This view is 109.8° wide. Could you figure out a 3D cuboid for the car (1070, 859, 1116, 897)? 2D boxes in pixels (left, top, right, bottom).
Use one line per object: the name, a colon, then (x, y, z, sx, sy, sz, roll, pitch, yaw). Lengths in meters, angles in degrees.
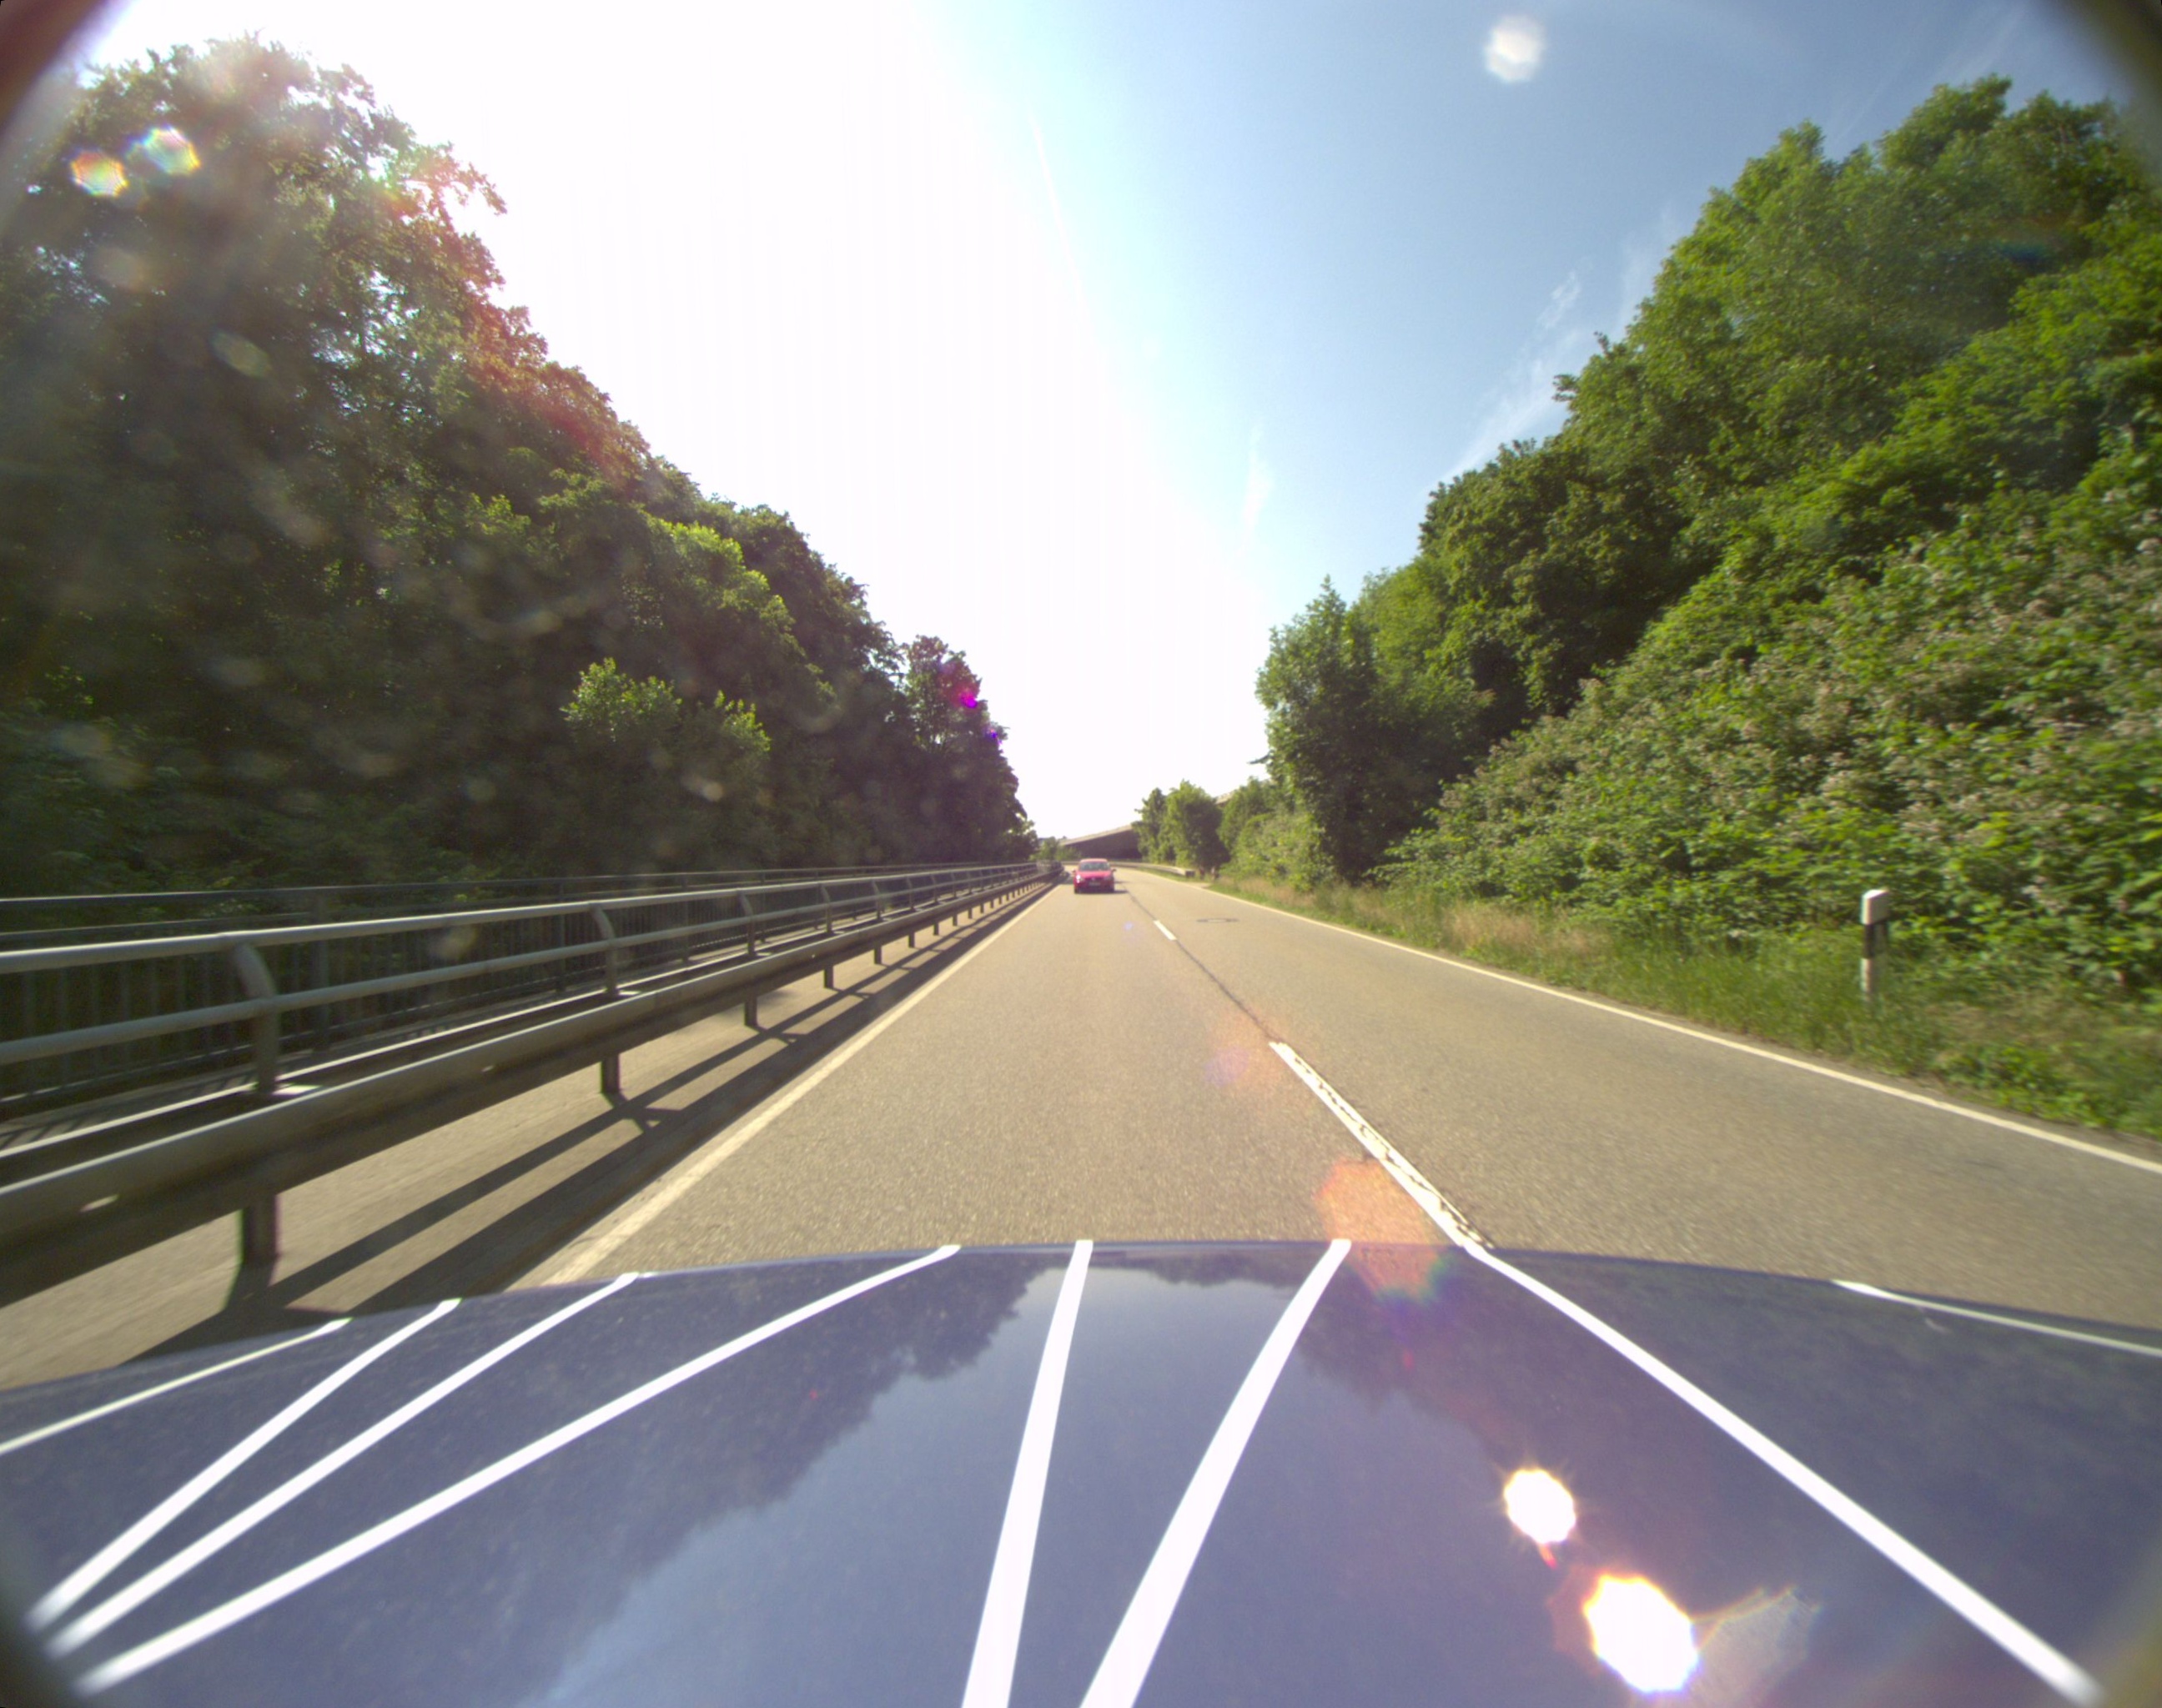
car: (0.597, 0.984, 32.698, 1.816, 1.487, 4.287, -1, 0, 3)
